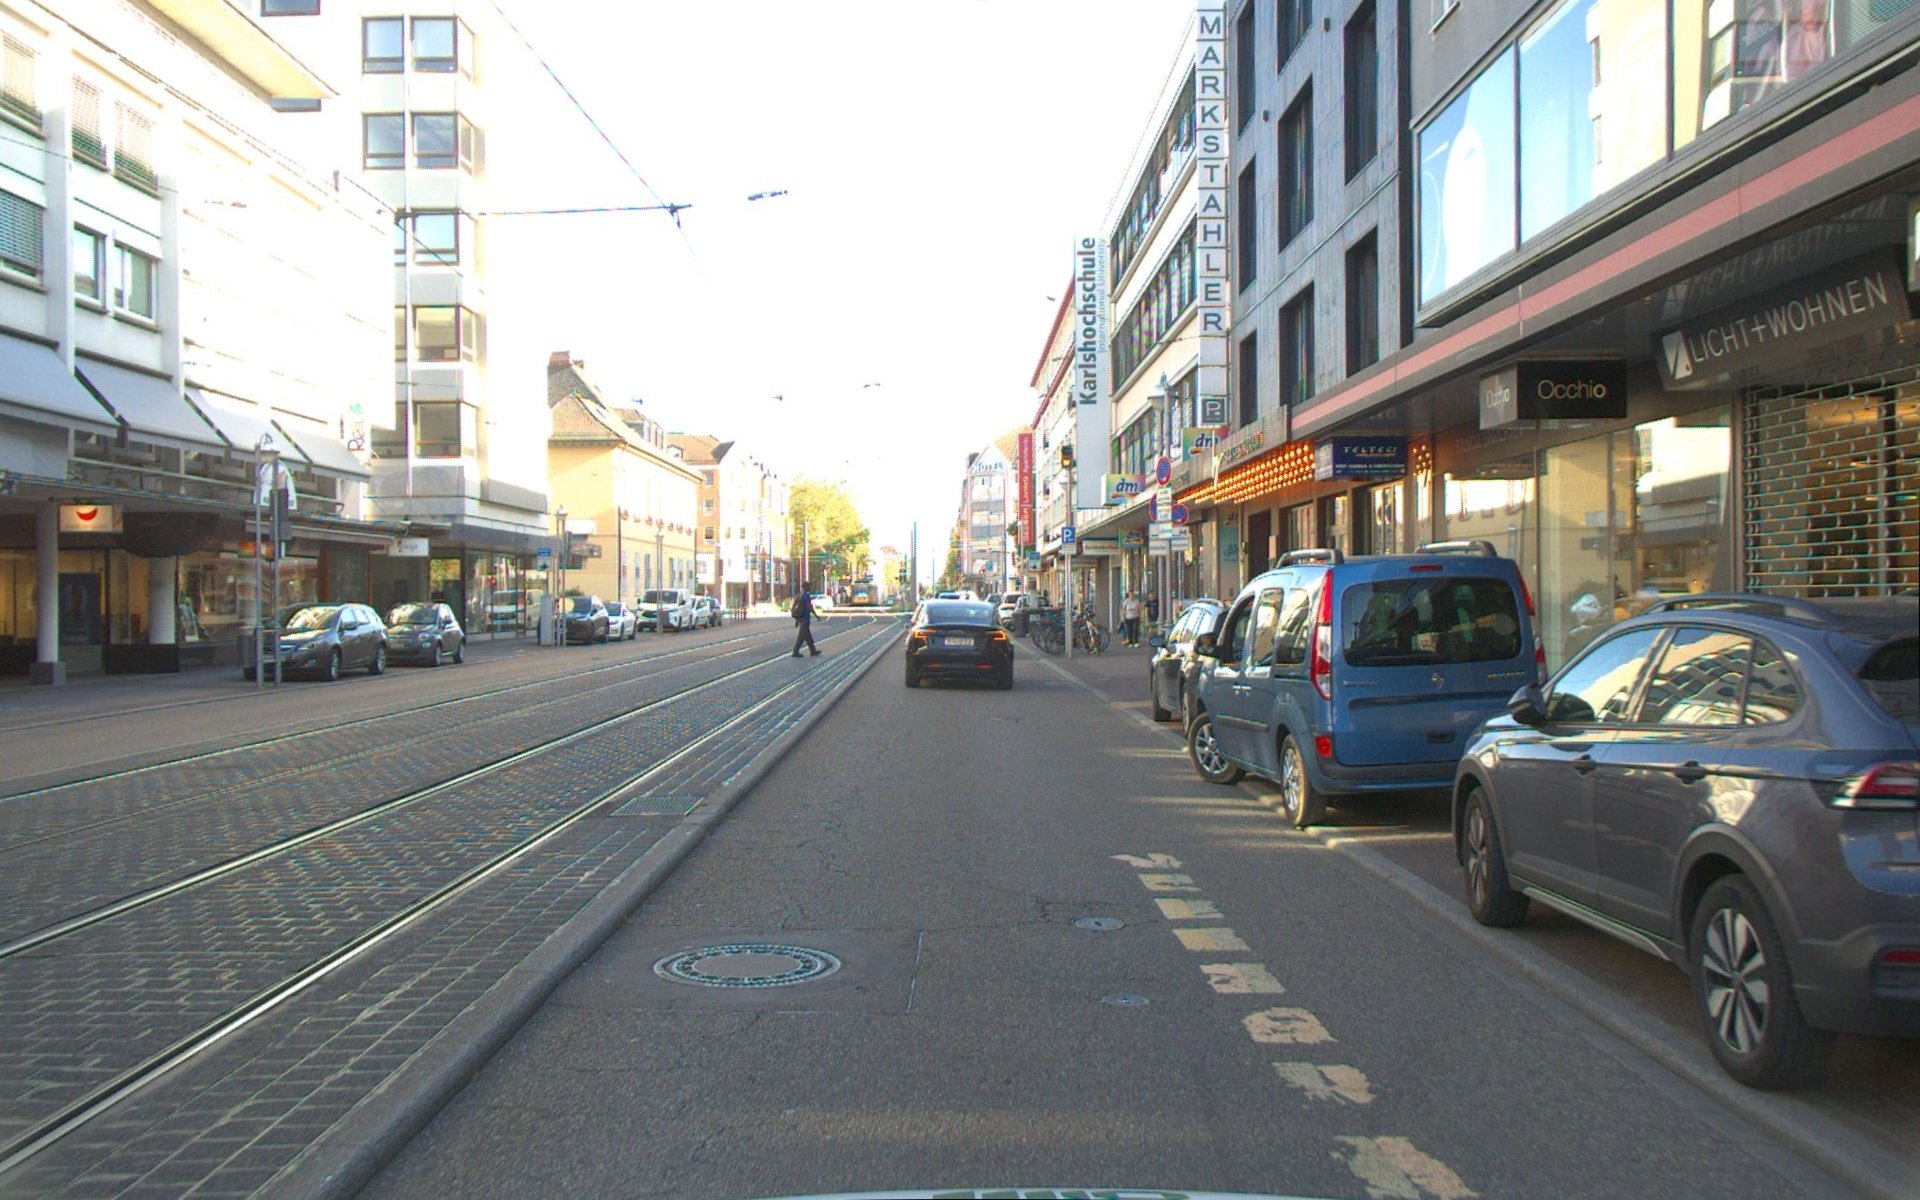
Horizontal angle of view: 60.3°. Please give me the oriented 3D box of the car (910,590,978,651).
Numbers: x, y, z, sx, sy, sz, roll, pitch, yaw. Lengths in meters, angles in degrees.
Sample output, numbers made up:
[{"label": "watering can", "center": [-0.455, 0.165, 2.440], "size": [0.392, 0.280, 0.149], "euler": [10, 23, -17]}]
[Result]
[{"label": "car", "center": [-0.384, 0.487, 42.351], "size": [1.619, 1.443, 4.000], "euler": [1, 1, 0]}]

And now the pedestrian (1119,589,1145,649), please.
[{"label": "pedestrian", "center": [4.758, 0.523, 45.798], "size": [0.570, 1.613, 0.597], "euler": [-3, 0, -3]}]

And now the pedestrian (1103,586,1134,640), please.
[{"label": "pedestrian", "center": [4.514, 0.384, 47.209], "size": [0.576, 1.512, 0.591], "euler": [-2, 0, -32]}]

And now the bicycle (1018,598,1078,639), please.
[{"label": "bicycle", "center": [2.641, 0.566, 49.897], "size": [1.751, 1.179, 0.669], "euler": [-1, 0, -2]}]

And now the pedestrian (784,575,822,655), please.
[{"label": "pedestrian", "center": [-3.757, 0.349, 39.649], "size": [0.788, 1.869, 0.746], "euler": [-2, 0, -2]}]

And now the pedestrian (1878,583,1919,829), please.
[{"label": "pedestrian", "center": [5.997, 0.626, 9.875], "size": [0.564, 1.464, 0.731], "euler": [-2, 0, -1]}]

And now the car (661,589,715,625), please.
[{"label": "car", "center": [-13.599, 0.328, 83.051], "size": [1.770, 1.715, 4.649], "euler": [2, 0, 2]}]

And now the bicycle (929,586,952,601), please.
[{"label": "bicycle", "center": [-1.565, -0.535, 130.312], "size": [1.696, 1.107, 0.677], "euler": [2, 0, -9]}]

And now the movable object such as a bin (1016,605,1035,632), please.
[{"label": "movable object such as a bin", "center": [2.474, 0.699, 62.476], "size": [0.672, 1.032, 0.508], "euler": [-1, 0, 2]}]

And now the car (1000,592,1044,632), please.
[{"label": "car", "center": [2.565, 0.490, 68.972], "size": [1.581, 1.555, 4.069], "euler": [-1, 0, -1]}]

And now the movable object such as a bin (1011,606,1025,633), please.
[{"label": "movable object such as a bin", "center": [2.165, 0.719, 61.781], "size": [0.477, 0.975, 0.458], "euler": [-2, 0, 2]}]

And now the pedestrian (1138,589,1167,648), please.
[{"label": "pedestrian", "center": [5.074, 0.483, 43.637], "size": [0.571, 1.519, 0.524], "euler": [-2, 0, -9]}]

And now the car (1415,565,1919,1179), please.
[{"label": "car", "center": [3.293, 0.685, 6.389], "size": [1.728, 1.605, 4.286], "euler": [-2, 0, -2]}]

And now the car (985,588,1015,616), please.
[{"label": "car", "center": [2.457, 0.114, 101.647], "size": [1.709, 1.660, 3.649], "euler": [-2, 0, 0]}]

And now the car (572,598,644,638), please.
[{"label": "car", "center": [-13.480, 0.668, 63.588], "size": [1.850, 1.446, 4.654], "euler": [2, 0, -2]}]

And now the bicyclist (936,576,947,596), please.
[{"label": "bicyclist", "center": [-1.450, -1.121, 130.309], "size": [0.820, 1.526, 0.559], "euler": [2, 0, -8]}]

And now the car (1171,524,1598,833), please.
[{"label": "car", "center": [2.956, 0.490, 12.633], "size": [1.780, 1.892, 4.546], "euler": [-1, 0, -4]}]

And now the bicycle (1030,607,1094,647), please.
[{"label": "bicycle", "center": [2.862, 0.757, 46.406], "size": [1.737, 1.050, 0.596], "euler": [-1, 0, -2]}]

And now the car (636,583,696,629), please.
[{"label": "car", "center": [-13.593, 0.265, 76.753], "size": [1.953, 2.009, 5.095], "euler": [2, 0, -1]}]

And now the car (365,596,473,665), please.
[{"label": "car", "center": [-13.015, 0.713, 39.978], "size": [1.569, 1.550, 3.587], "euler": [2, 0, -3]}]

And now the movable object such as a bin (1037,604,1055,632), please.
[{"label": "movable object such as a bin", "center": [3.238, 0.670, 62.447], "size": [0.644, 1.032, 0.636], "euler": [-1, 0, 2]}]

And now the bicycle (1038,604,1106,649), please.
[{"label": "bicycle", "center": [2.985, 0.707, 44.222], "size": [1.739, 1.150, 0.478], "euler": [-1, 0, -6]}]

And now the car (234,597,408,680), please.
[{"label": "car", "center": [-13.169, 0.754, 34.417], "size": [1.701, 1.550, 4.851], "euler": [2, 0, 0]}]

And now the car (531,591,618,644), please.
[{"label": "car", "center": [-13.390, 0.591, 57.716], "size": [1.938, 1.708, 4.654], "euler": [2, 0, 0]}]

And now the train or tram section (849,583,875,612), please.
[{"label": "train or tram section", "center": [-13.127, -0.329, 221.695], "size": [2.619, 3.780, 14.191], "euler": [1, 0, 0]}]

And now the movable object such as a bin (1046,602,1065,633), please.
[{"label": "movable object such as a bin", "center": [3.567, 0.644, 61.687], "size": [0.676, 1.108, 0.666], "euler": [-2, 0, 2]}]

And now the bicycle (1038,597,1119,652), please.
[{"label": "bicycle", "center": [3.111, 0.636, 43.432], "size": [2.000, 1.296, 0.523], "euler": [-3, 0, -11]}]

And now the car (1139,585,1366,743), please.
[{"label": "car", "center": [3.166, 0.646, 18.769], "size": [1.686, 1.510, 4.415], "euler": [-2, 0, -1]}]

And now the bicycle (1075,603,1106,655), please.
[{"label": "bicycle", "center": [3.318, 0.717, 42.149], "size": [0.570, 1.279, 1.601], "euler": [-3, 0, -2]}]

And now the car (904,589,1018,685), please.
[{"label": "car", "center": [-0.037, 0.602, 28.574], "size": [1.811, 1.510, 3.786], "euler": [1, 0, -2]}]

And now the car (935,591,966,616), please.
[{"label": "car", "center": [-0.661, 0.248, 107.328], "size": [1.748, 1.545, 4.215], "euler": [2, 0, -4]}]

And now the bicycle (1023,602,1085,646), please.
[{"label": "bicycle", "center": [2.777, 0.703, 48.833], "size": [1.751, 1.238, 0.669], "euler": [-1, 0, -2]}]

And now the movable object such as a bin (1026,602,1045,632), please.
[{"label": "movable object such as a bin", "center": [2.818, 0.635, 61.821], "size": [0.676, 1.108, 0.686], "euler": [-2, 0, 2]}]

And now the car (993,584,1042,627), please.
[{"label": "car", "center": [2.528, 0.245, 73.827], "size": [1.812, 1.754, 5.191], "euler": [-2, 0, -1]}]

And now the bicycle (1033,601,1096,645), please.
[{"label": "bicycle", "center": [3.026, 0.658, 47.842], "size": [1.751, 1.238, 0.587], "euler": [-1, 0, -2]}]
